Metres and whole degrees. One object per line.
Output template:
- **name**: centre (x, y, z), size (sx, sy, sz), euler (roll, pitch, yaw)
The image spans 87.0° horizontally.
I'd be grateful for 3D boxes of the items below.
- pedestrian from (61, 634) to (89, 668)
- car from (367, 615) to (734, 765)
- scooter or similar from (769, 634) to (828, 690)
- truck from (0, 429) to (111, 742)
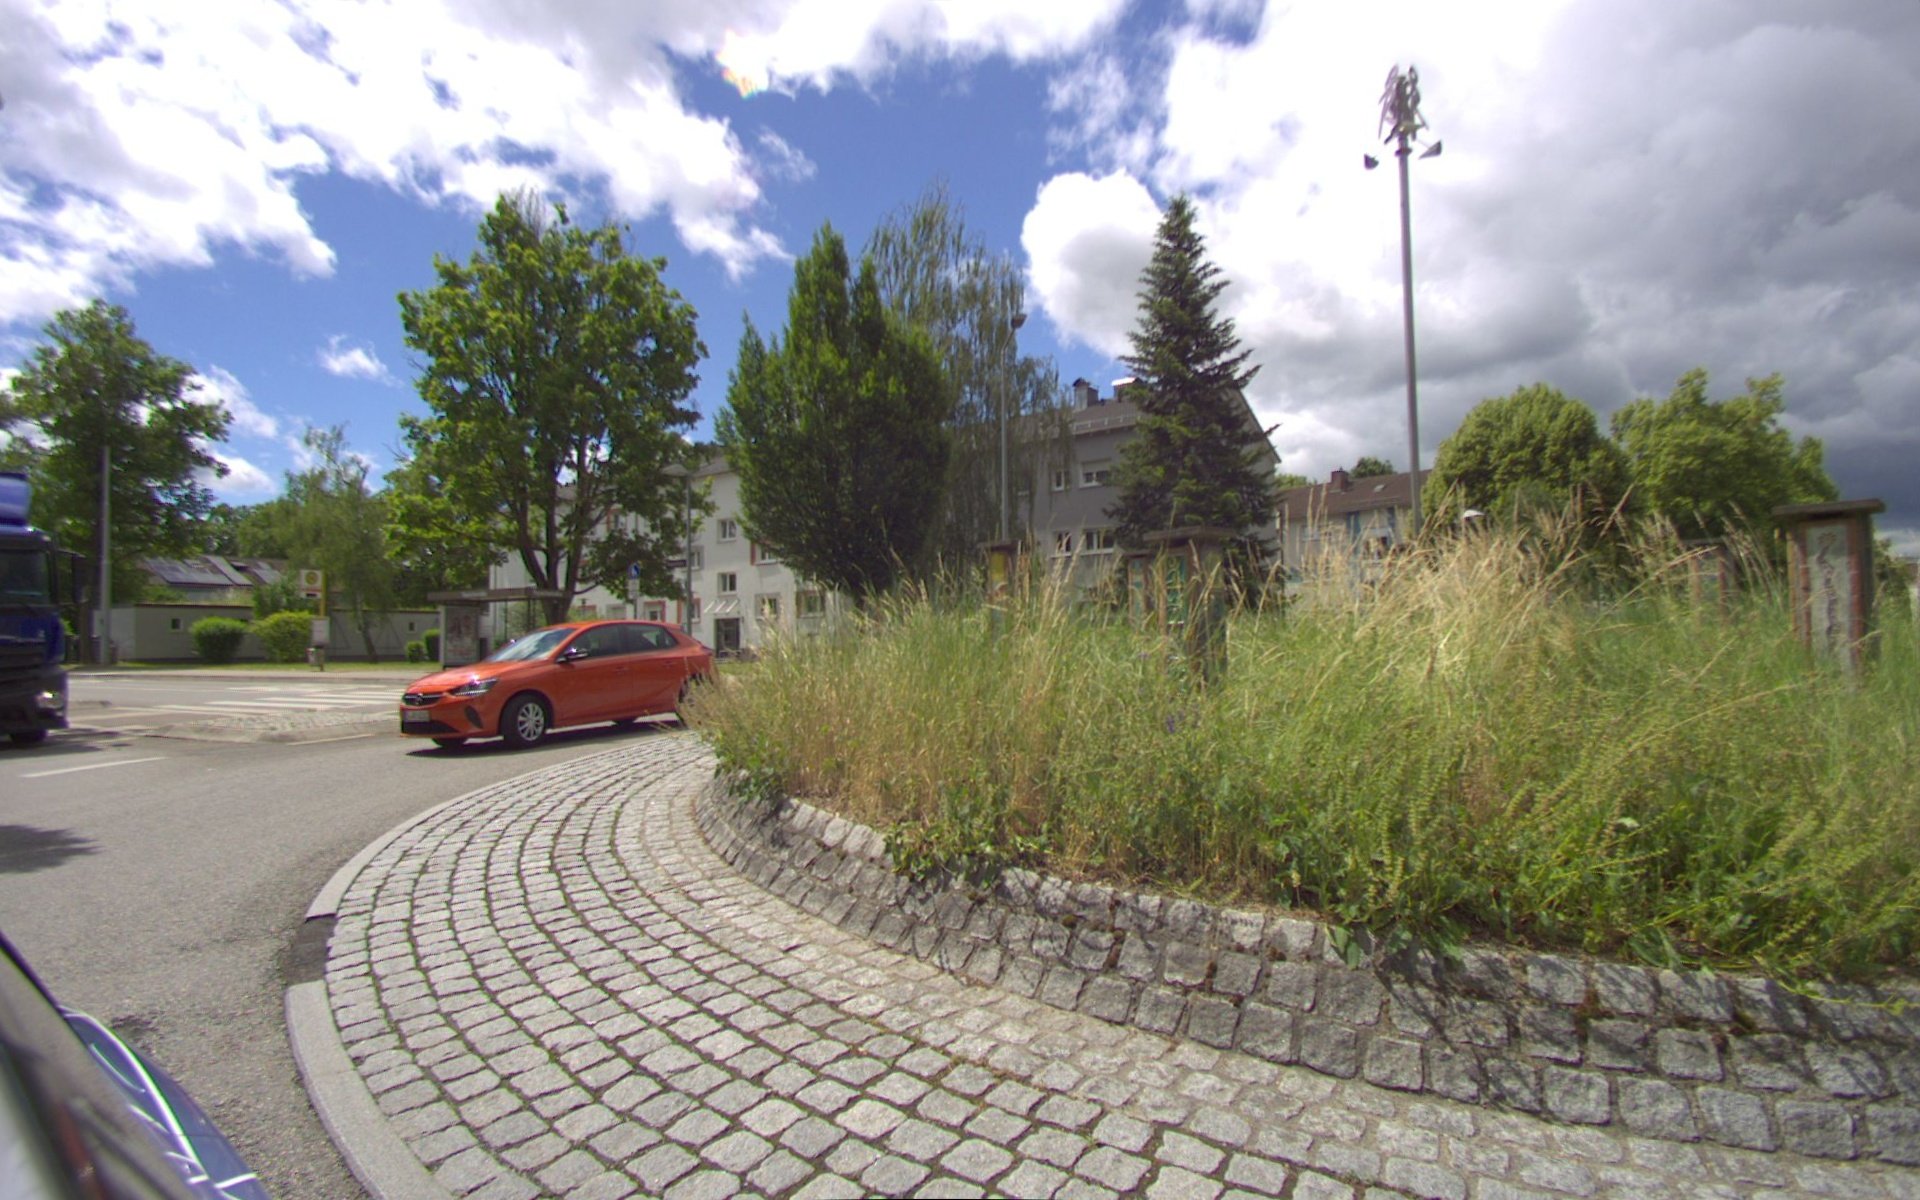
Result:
- **pedestrian**: centre (-42.153, 2.411, 48.200), size (0.660, 1.594, 0.892), euler (-2, -3, 38)
- **car**: centre (-4.956, 1.141, 12.787), size (1.762, 1.570, 3.953), euler (-3, -6, 34)
- **scooter or similar**: centre (-3.983, 1.522, 25.051), size (1.368, 1.353, 0.486), euler (1, -3, -2)
- **truck**: centre (-17.189, 0.010, 15.731), size (9.754, 4.185, 2.762), euler (-3, -4, 29)
